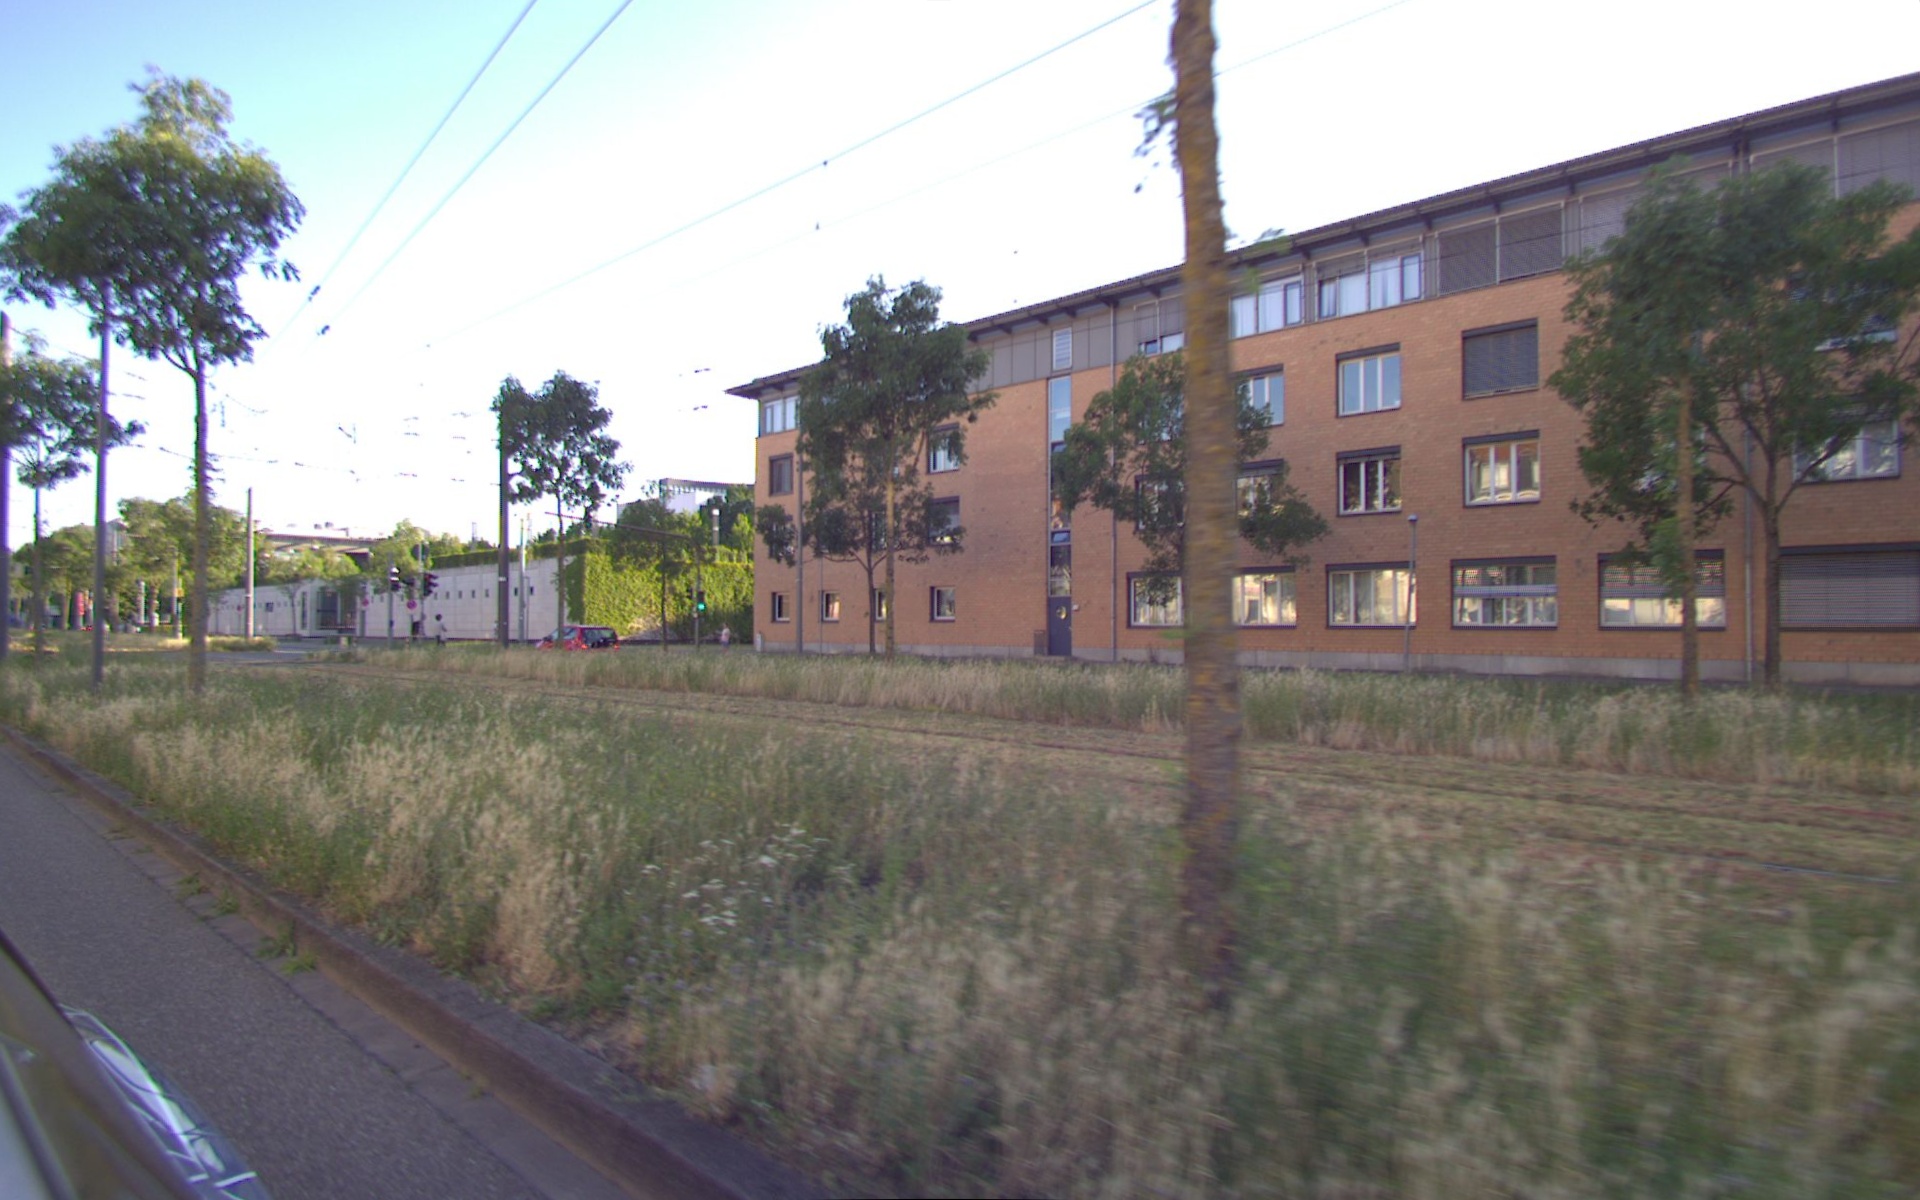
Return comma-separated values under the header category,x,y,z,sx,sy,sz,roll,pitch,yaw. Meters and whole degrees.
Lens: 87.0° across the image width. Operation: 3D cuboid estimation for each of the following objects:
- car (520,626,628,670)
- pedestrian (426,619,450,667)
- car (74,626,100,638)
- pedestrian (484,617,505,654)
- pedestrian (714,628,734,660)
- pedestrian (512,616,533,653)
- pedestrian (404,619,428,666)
category,x,y,z,sx,sy,sz,roll,pitch,yaw
car,-13.029,1.575,34.095,3.998,1.386,1.771,-2,-2,42
pedestrian,-18.604,1.538,36.061,0.544,1.697,0.512,-1,-2,12
car,-102.067,3.738,118.245,3.998,1.386,1.771,-2,-2,42
pedestrian,-26.084,1.979,56.722,0.863,2.029,0.723,-1,-2,27
pedestrian,-10.202,1.903,43.759,0.574,1.378,0.580,-1,-2,36
pedestrian,-24.805,1.954,57.396,0.863,2.029,0.724,-1,-2,26
pedestrian,-19.568,1.525,36.415,0.544,1.697,0.512,-1,-2,12
